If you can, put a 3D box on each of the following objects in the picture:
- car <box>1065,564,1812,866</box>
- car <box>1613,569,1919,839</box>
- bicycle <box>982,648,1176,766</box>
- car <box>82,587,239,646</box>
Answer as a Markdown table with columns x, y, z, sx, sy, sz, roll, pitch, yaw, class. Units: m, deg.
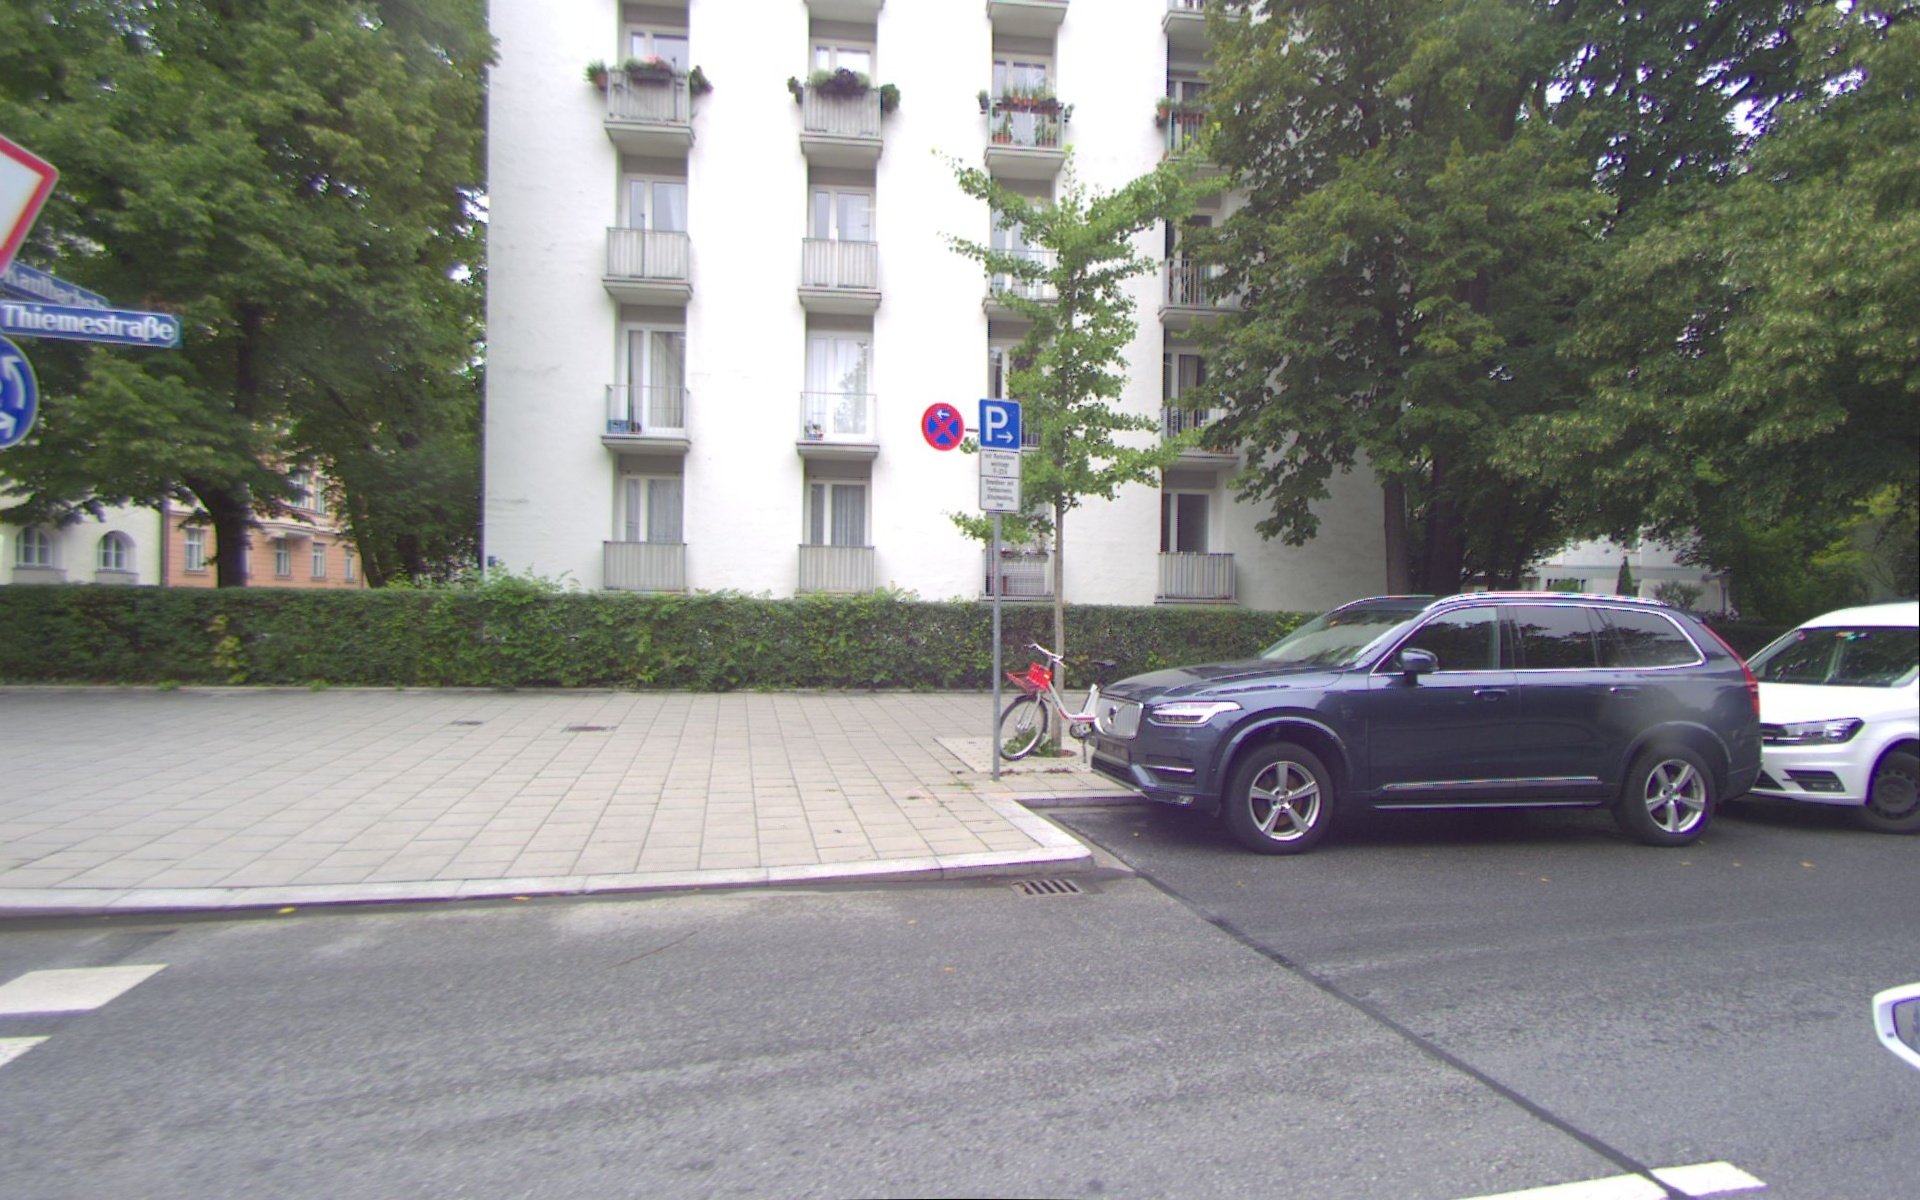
| x | y | z | sx | sy | sz | roll | pitch | yaw | class |
| --- | --- | --- | --- | --- | --- | --- | --- | --- | --- |
| 3.398 | 0.768 | 7.513 | 4.826 | 1.815 | 1.996 | 1 | -1 | -11 | car |
| 8.400 | 0.823 | 8.666 | 4.764 | 1.944 | 1.831 | 1 | -1 | -12 | car |
| 1.149 | 1.003 | 9.676 | 1.801 | 1.063 | 0.490 | 1 | 0 | -18 | bicycle |
| -22.271 | 0.419 | 28.199 | 1.767 | 1.525 | 4.106 | 0 | 0 | -11 | car |
